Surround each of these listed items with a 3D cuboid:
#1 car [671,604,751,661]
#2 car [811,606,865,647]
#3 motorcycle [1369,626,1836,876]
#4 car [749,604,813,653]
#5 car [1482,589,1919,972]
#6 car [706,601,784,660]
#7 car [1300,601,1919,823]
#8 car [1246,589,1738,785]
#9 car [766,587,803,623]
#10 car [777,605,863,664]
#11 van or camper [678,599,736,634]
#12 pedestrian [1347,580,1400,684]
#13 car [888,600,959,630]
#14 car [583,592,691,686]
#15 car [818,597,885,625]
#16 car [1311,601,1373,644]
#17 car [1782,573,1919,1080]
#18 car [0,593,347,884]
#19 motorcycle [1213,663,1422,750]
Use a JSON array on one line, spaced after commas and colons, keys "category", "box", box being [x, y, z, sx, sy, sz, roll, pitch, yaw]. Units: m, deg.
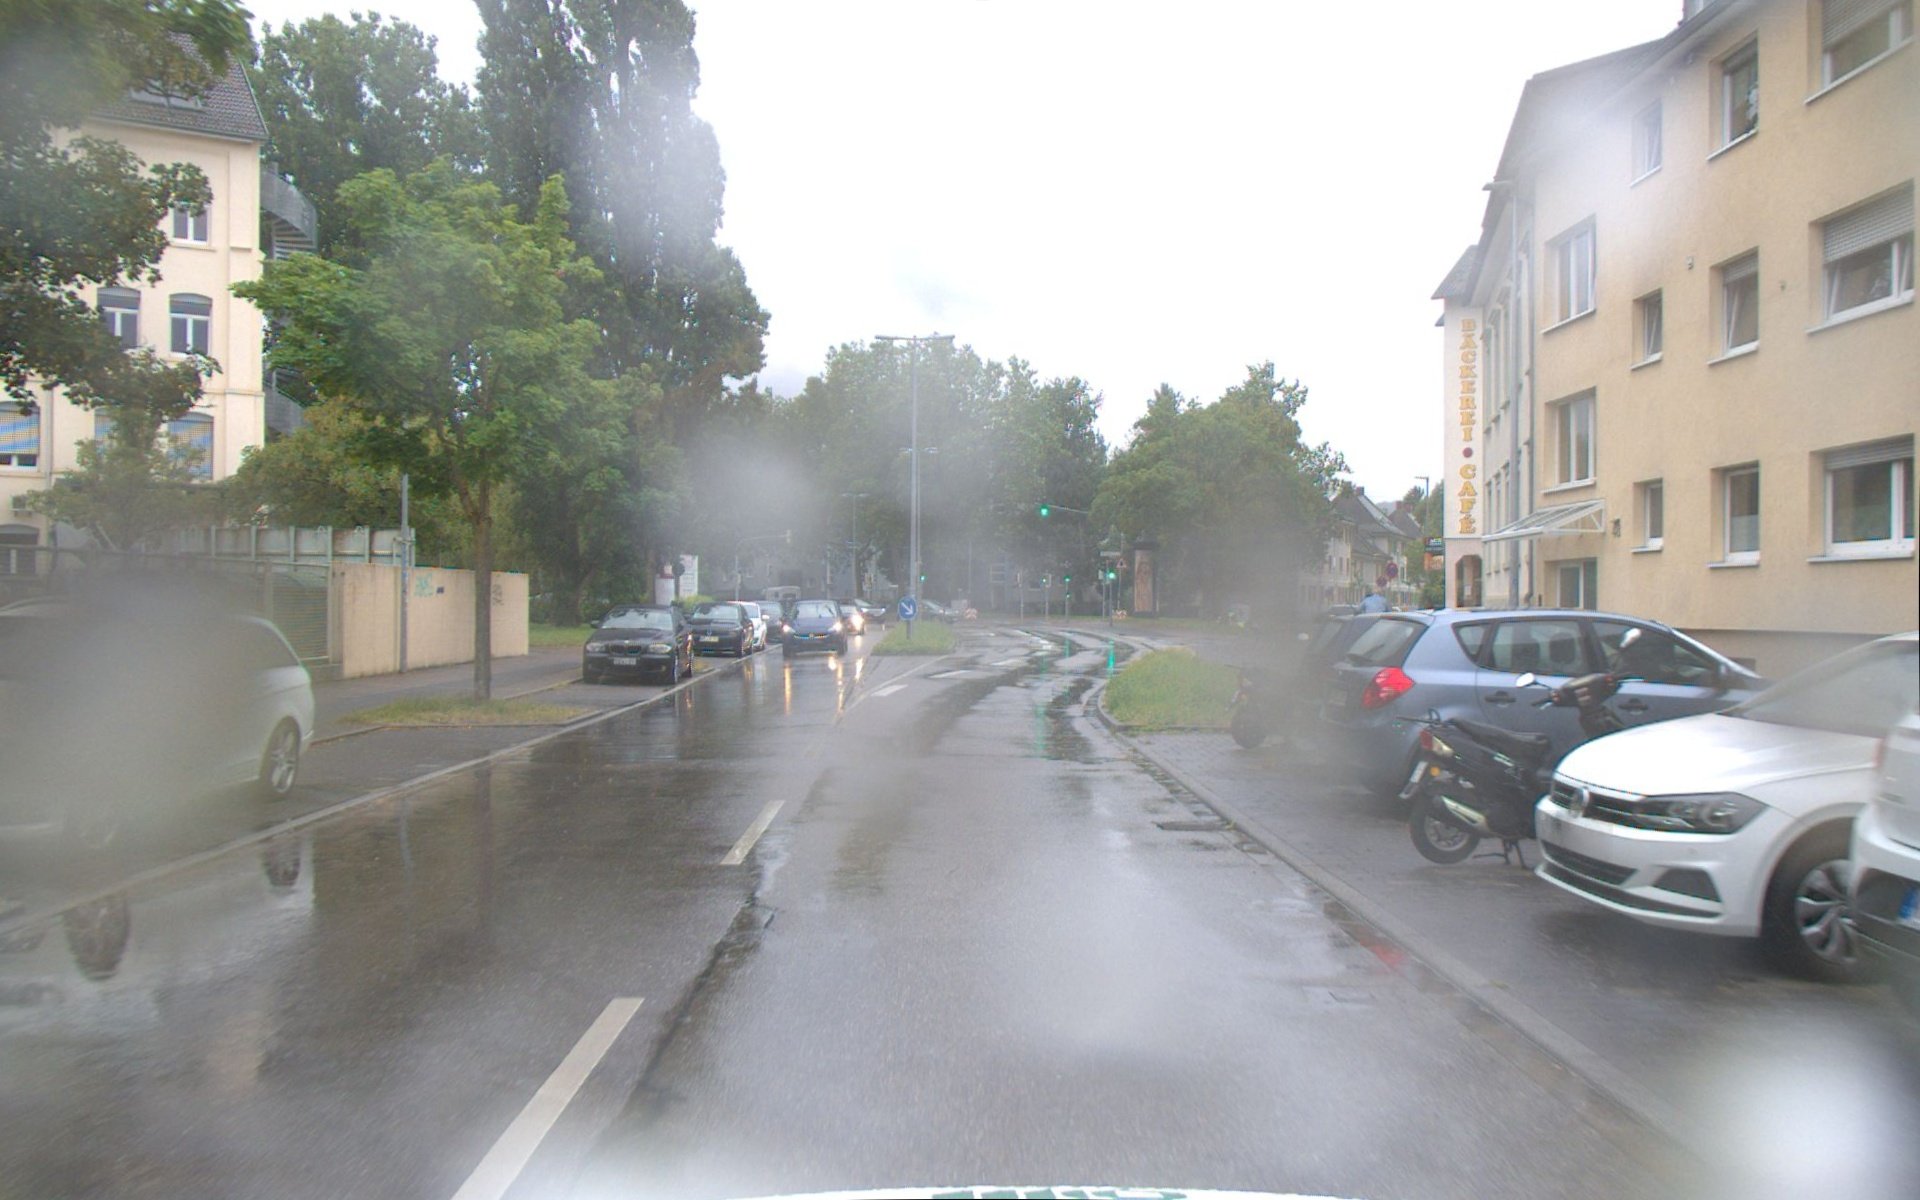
[{"category": "car", "box": [-6.869, 0.864, 45.929, 1.891, 1.510, 3.996, 0, 0, -4]}, {"category": "car", "box": [-5.271, 1.138, 72.010, 1.887, 1.722, 4.001, 1, 0, 2]}, {"category": "motorcycle", "box": [3.661, 0.841, 9.536, 2.352, 1.347, 0.918, 1, -1, -6]}, {"category": "car", "box": [-6.737, 1.071, 62.523, 1.887, 1.761, 4.000, 1, 0, 1]}, {"category": "car", "box": [4.677, 0.751, 7.653, 3.908, 1.516, 1.861, 1, -1, -4]}, {"category": "car", "box": [-6.741, 0.937, 52.248, 1.887, 1.761, 4.000, 1, 0, 1]}, {"category": "car", "box": [4.719, 0.783, 12.438, 3.906, 1.487, 1.934, 1, -1, -1]}, {"category": "car", "box": [4.623, 0.734, 14.847, 3.903, 1.579, 1.747, 1, -1, 5]}, {"category": "car", "box": [-16.626, 0.480, 156.592, 2.189, 3.294, 4.638, 1, -1, -22]}, {"category": "car", "box": [-3.779, 0.905, 45.210, 1.952, 1.512, 4.000, 1, 0, 1]}, {"category": "van or camper", "box": [-15.244, 0.990, 99.729, 1.951, 2.049, 4.003, 0, 0, 16]}, {"category": "pedestrian", "box": [8.341, 0.631, 33.333, 0.989, 2.049, 0.952, 1, -1, 16]}, {"category": "car", "box": [-2.177, 0.889, 98.417, 3.913, 1.718, 1.742, 1, -1, 30]}, {"category": "car", "box": [-6.015, 0.688, 31.147, 1.742, 1.556, 3.993, 1, 1, -8]}, {"category": "car", "box": [-6.885, 0.690, 105.039, 3.911, 1.718, 1.743, 1, -1, 29]}, {"category": "car", "box": [16.184, 0.942, 69.951, 1.953, 1.747, 4.000, 1, -1, 21]}, {"category": "car", "box": [4.955, 0.732, 5.108, 3.907, 1.579, 1.904, 1, -1, -3]}, {"category": "car", "box": [-5.798, 0.746, 11.126, 1.733, 1.555, 4.596, 1, 0, -2]}, {"category": "motorcycle", "box": [3.651, 1.090, 17.035, 2.029, 0.806, 0.711, 1, 0, 5]}]
